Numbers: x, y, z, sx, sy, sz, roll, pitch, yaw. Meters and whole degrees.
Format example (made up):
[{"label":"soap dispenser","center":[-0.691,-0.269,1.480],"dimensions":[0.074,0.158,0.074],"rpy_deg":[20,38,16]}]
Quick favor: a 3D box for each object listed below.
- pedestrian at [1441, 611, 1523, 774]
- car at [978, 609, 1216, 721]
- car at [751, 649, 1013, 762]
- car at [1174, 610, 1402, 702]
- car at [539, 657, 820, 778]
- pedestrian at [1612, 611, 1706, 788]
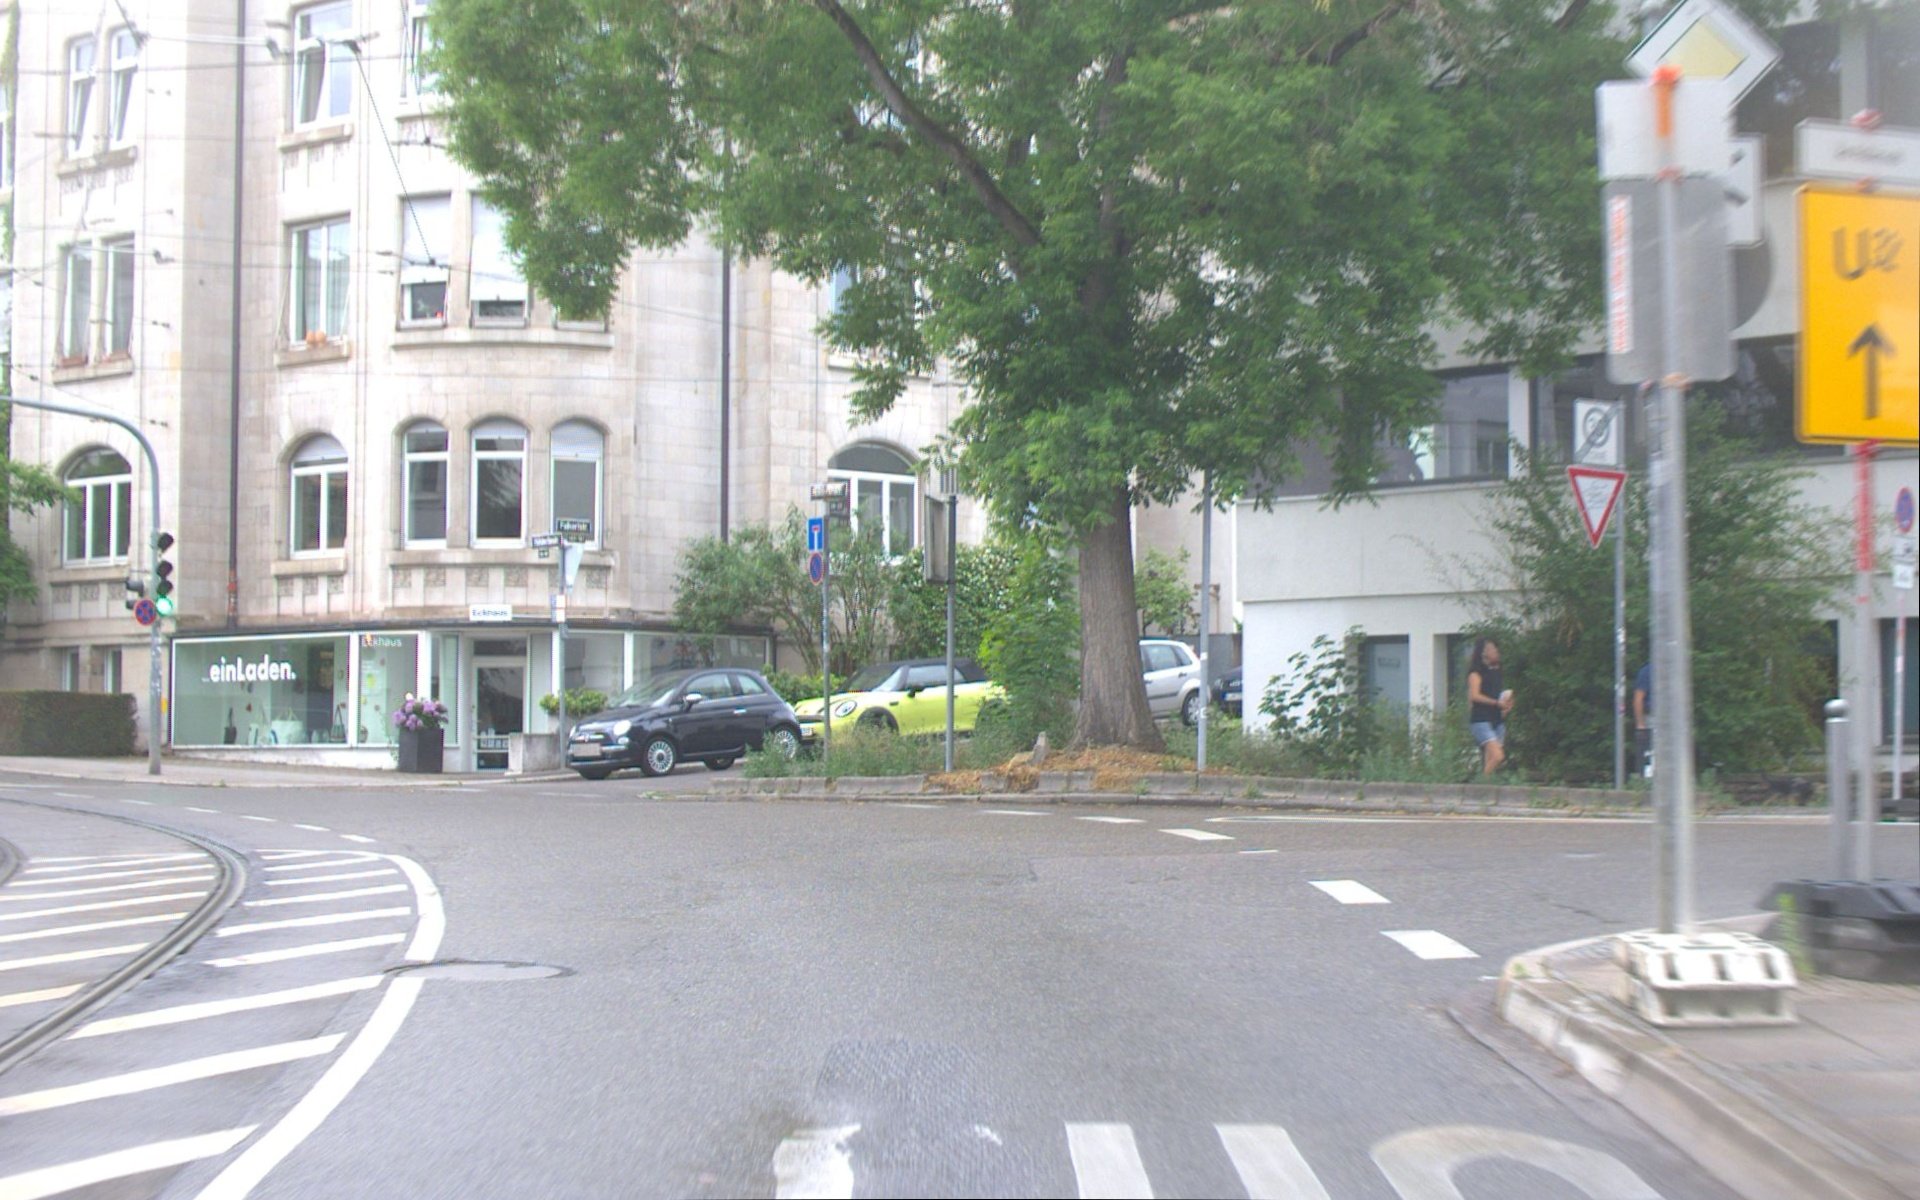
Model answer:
[{"label":"pedestrian","center":[5.122,0.903,33.757],"dimensions":[0.599,1.560,0.546],"rpy_deg":[2,1,-10]},{"label":"car","center":[2.218,1.024,55.088],"dimensions":[1.622,1.503,3.764],"rpy_deg":[-4,-1,44]},{"label":"car","center":[-1.153,1.560,51.638],"dimensions":[3.660,1.503,1.737],"rpy_deg":[-2,1,-42]},{"label":"car","center":[5.657,0.980,59.135],"dimensions":[3.885,1.503,1.623],"rpy_deg":[1,-3,-40]},{"label":"car","center":[-3.969,1.641,48.985],"dimensions":[3.660,1.503,1.737],"rpy_deg":[-2,1,-42]},{"label":"pedestrian","center":[6.606,0.935,32.509],"dimensions":[0.544,1.624,0.602],"rpy_deg":[1,1,-33]}]
